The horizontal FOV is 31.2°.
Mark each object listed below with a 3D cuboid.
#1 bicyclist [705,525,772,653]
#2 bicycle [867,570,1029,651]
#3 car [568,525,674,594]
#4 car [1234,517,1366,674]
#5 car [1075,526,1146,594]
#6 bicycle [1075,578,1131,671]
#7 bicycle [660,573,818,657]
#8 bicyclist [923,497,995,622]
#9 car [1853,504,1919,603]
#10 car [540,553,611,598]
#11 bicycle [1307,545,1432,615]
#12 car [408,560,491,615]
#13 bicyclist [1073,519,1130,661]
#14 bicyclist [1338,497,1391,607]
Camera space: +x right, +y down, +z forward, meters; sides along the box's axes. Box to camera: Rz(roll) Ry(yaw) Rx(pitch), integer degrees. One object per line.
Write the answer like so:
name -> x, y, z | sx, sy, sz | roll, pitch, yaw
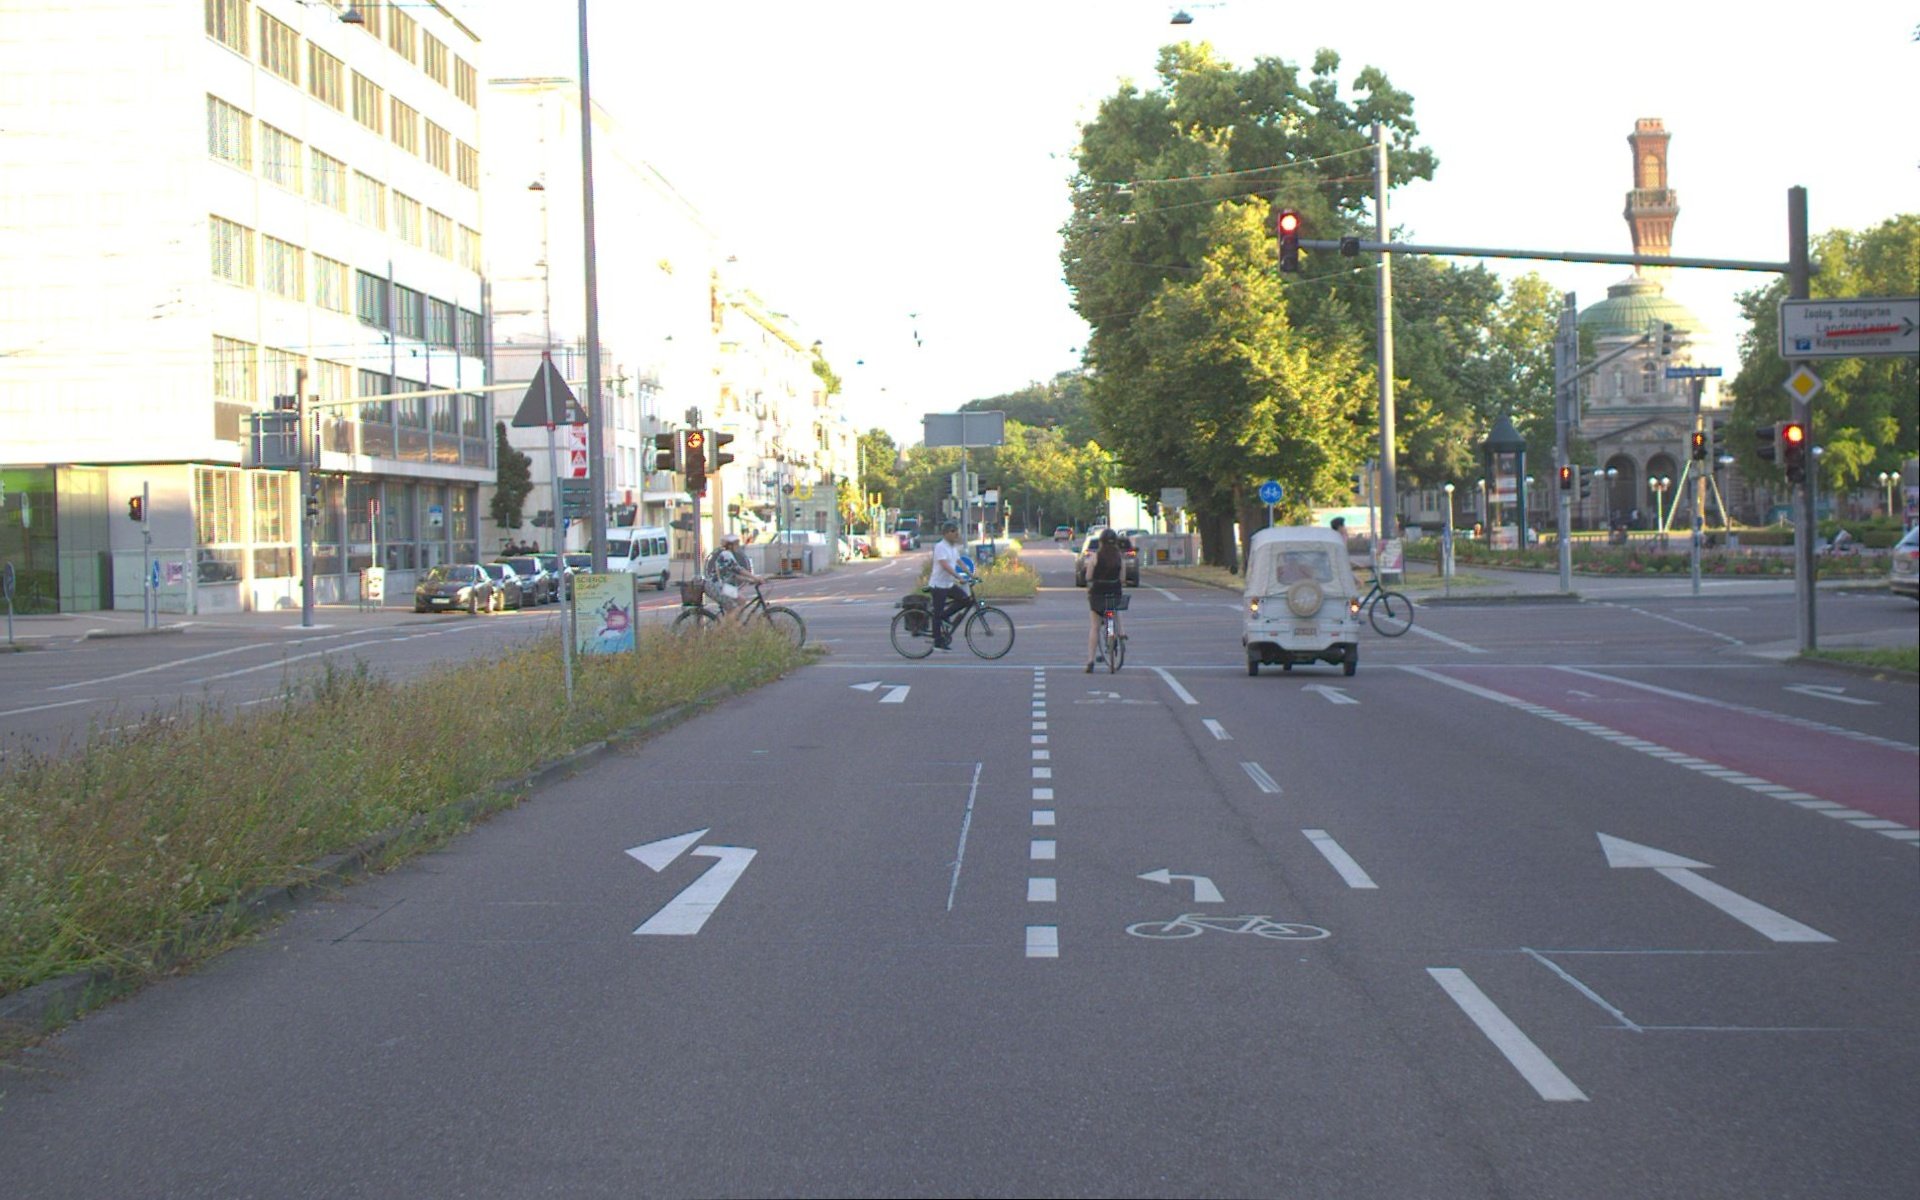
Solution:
bicyclist -> -2.971, -0.148, 46.162 | 0.746, 1.687, 0.715 | -1, 1, 6
bicycle -> -0.159, 0.144, 47.328 | 2.059, 1.065, 0.786 | -1, 1, 18
car -> -12.869, -1.514, 131.017 | 2.178, 2.377, 5.985 | -2, -1, 13
car -> 4.048, -0.083, 41.175 | 1.459, 1.774, 2.564 | -1, 2, 4
car -> 4.648, -1.261, 106.570 | 1.993, 2.007, 4.000 | -2, 1, 0
bicycle -> 1.733, 0.287, 41.826 | 0.637, 1.065, 2.069 | 0, 1, 1
bicycle -> -2.964, 0.194, 46.207 | 2.015, 1.065, 0.731 | 1, 1, 5
bicyclist -> -0.011, -0.558, 47.258 | 0.747, 1.687, 0.764 | -1, 1, 18
car -> 17.877, -0.856, 58.890 | 4.532, 1.642, 2.000 | -2, 1, -6
car -> -13.890, -0.874, 124.457 | 1.796, 1.470, 3.999 | -2, -1, 5
bicycle -> 6.398, -0.310, 53.767 | 1.897, 1.065, 0.731 | -1, 0, 4
car -> -15.047, -0.363, 101.526 | 1.796, 1.470, 4.000 | -2, -1, 1
bicyclist -> 1.708, -0.128, 41.504 | 0.628, 1.687, 0.748 | -2, 1, 1
bicyclist -> 6.321, -0.752, 53.765 | 0.746, 1.687, 0.715 | -1, 1, 4
